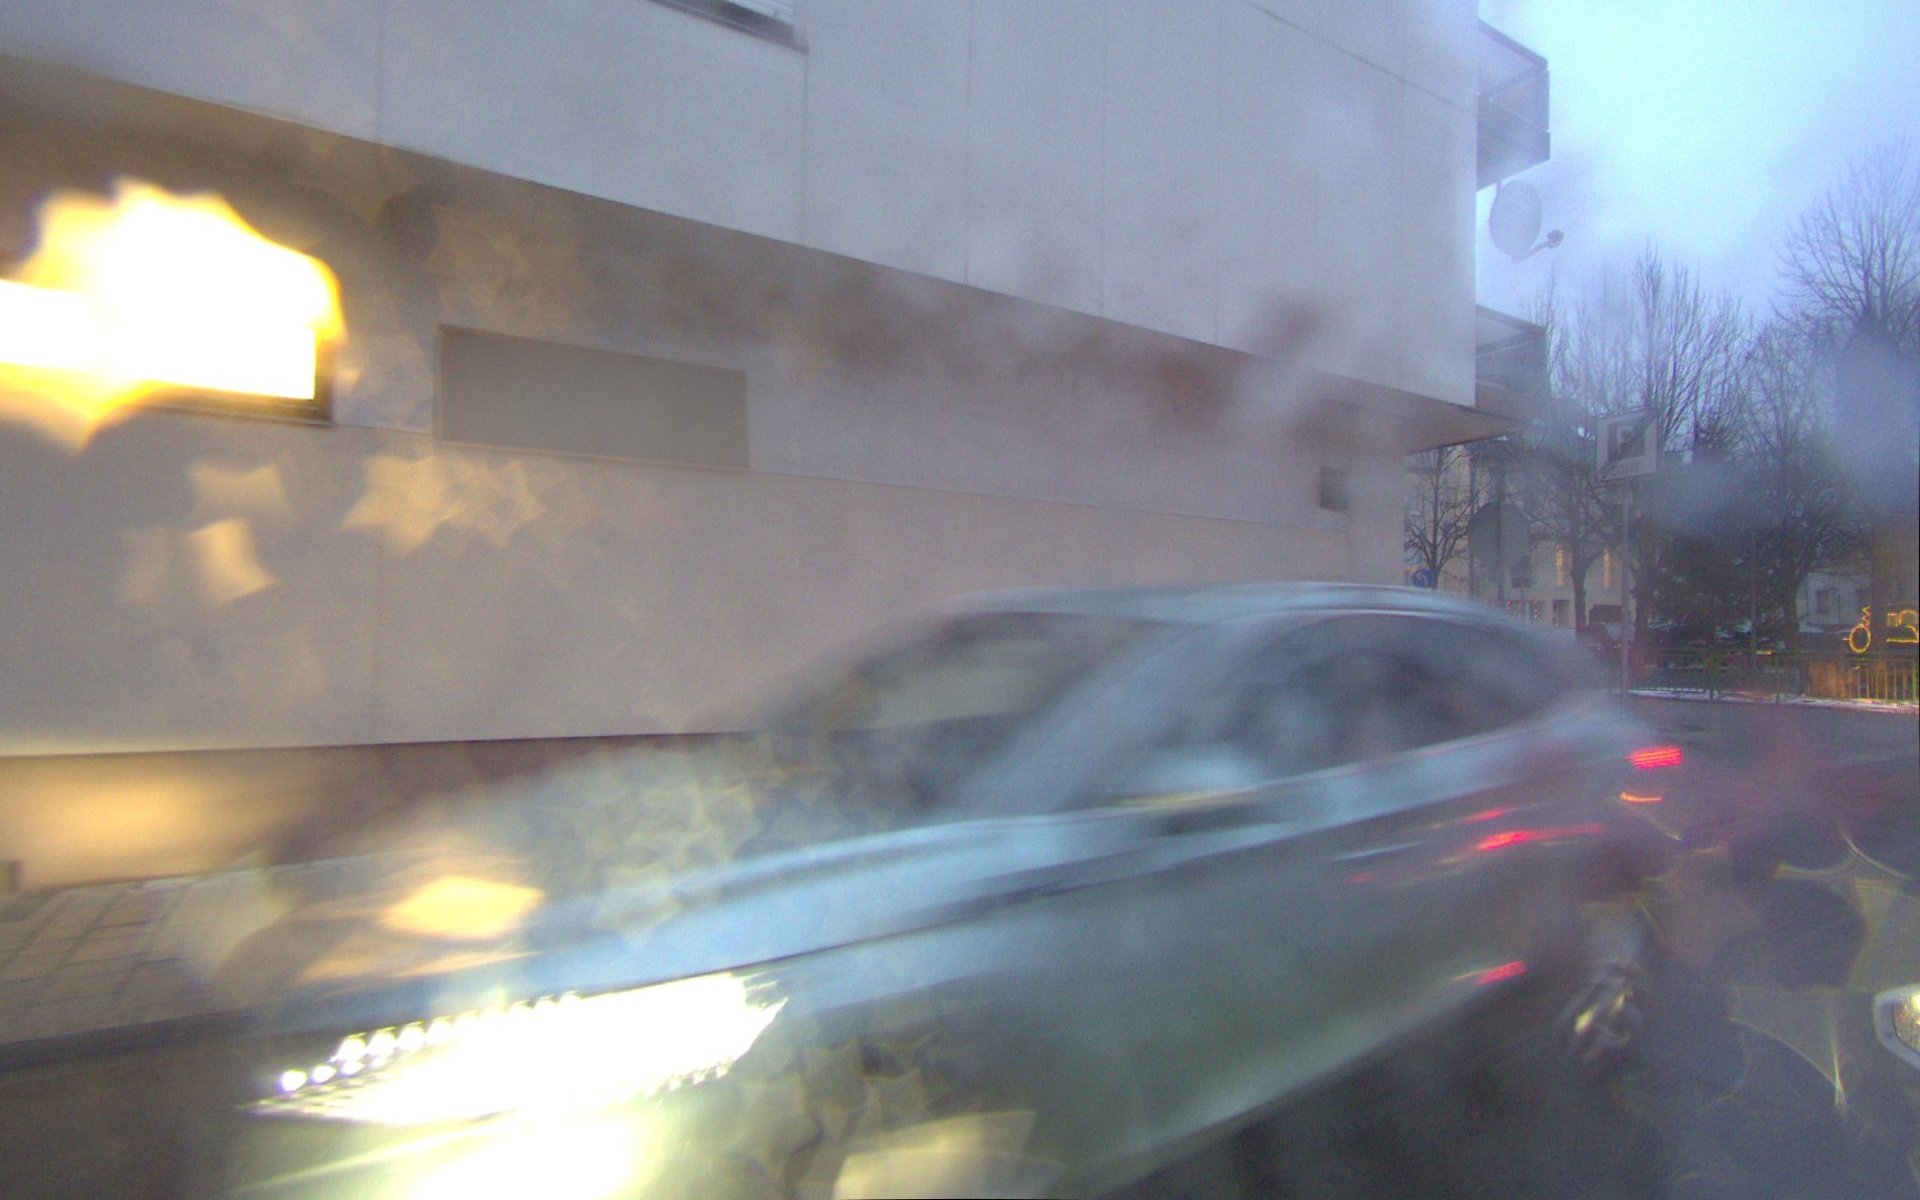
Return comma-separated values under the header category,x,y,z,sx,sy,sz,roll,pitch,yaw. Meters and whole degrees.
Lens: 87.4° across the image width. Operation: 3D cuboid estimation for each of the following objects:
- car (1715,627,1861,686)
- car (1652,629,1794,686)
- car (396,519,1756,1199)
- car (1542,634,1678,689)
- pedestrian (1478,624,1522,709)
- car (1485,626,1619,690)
category,x,y,z,sx,sy,sz,roll,pitch,yaw
car,30.694,2.045,37.385,1.786,2.025,3.993,0,-1,-10
car,27.795,2.059,36.761,1.786,1.936,3.993,0,-1,-10
car,0.713,0.750,3.307,4.354,1.617,1.799,1,-1,-34
car,22.683,2.092,35.264,1.786,1.753,3.993,1,-1,-10
pedestrian,9.698,1.181,18.052,0.638,1.478,0.650,0,0,24
car,20.085,1.928,34.260,1.786,2.014,3.993,0,-1,-10
